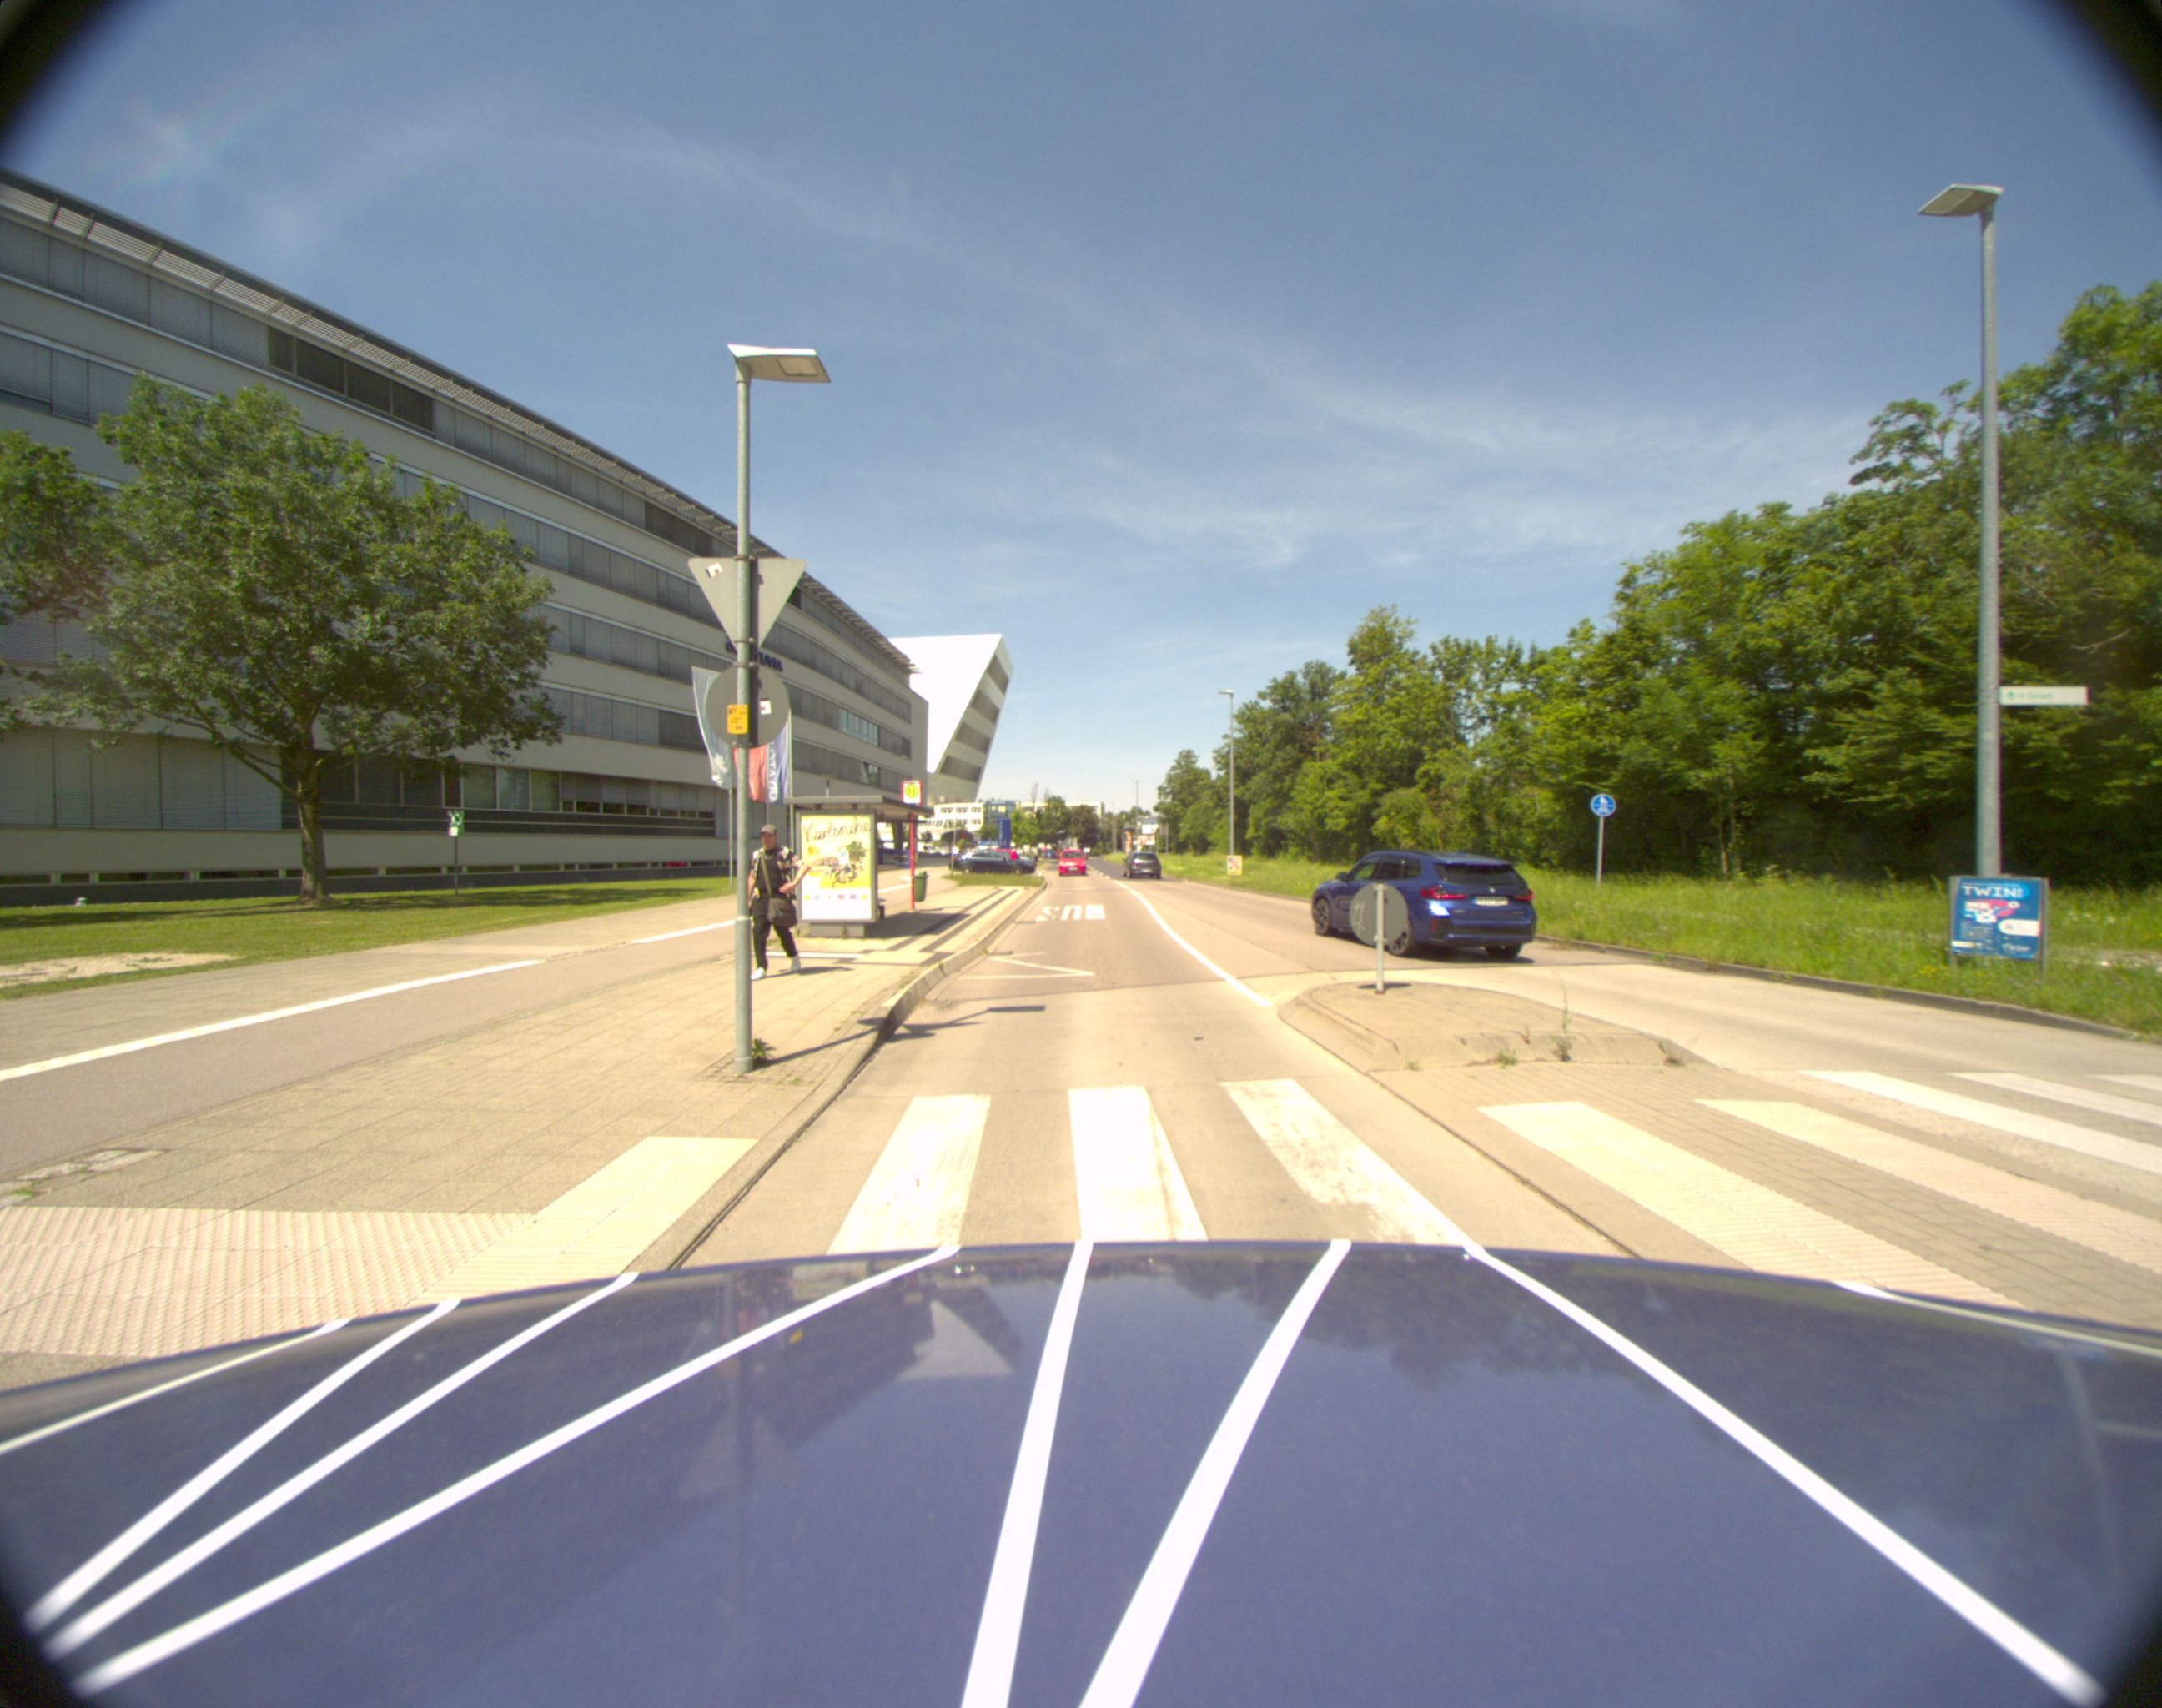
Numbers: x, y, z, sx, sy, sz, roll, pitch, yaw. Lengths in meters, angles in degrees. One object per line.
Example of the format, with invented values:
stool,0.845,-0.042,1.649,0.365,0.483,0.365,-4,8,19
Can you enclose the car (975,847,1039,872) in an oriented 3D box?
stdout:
car,-4.574,0.313,47.514,3.817,1.477,1.655,1,1,1

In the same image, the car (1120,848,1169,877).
car,3.393,0.438,41.306,1.999,1.470,4.287,1,0,-4

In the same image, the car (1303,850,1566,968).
car,5.454,0.781,12.482,2.000,1.586,4.320,0,-1,-6

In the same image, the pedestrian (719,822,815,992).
pedestrian,-3.513,0.567,8.561,0.710,1.812,0.826,2,1,-1

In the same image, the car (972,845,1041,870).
car,-4.876,0.200,49.926,4.332,1.555,1.786,1,1,0

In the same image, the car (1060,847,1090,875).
car,-0.314,0.387,45.371,1.662,1.495,3.356,-1,1,1

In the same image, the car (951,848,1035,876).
car,-4.904,0.440,42.705,4.580,1.424,1.826,1,1,-4

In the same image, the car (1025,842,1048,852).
car,-8.801,-1.368,149.315,4.204,1.964,1.704,-1,1,5

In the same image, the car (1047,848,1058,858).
car,-4.634,-0.168,124.802,1.802,1.490,3.998,-2,1,-2

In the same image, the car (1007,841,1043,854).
car,-10.560,-1.216,143.538,6.492,2.137,2.165,-1,1,5

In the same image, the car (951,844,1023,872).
car,-5.574,0.199,45.396,3.997,1.645,1.839,0,1,1

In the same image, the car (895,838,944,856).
car,-24.889,-1.072,117.046,6.960,2.647,2.256,-1,1,9
